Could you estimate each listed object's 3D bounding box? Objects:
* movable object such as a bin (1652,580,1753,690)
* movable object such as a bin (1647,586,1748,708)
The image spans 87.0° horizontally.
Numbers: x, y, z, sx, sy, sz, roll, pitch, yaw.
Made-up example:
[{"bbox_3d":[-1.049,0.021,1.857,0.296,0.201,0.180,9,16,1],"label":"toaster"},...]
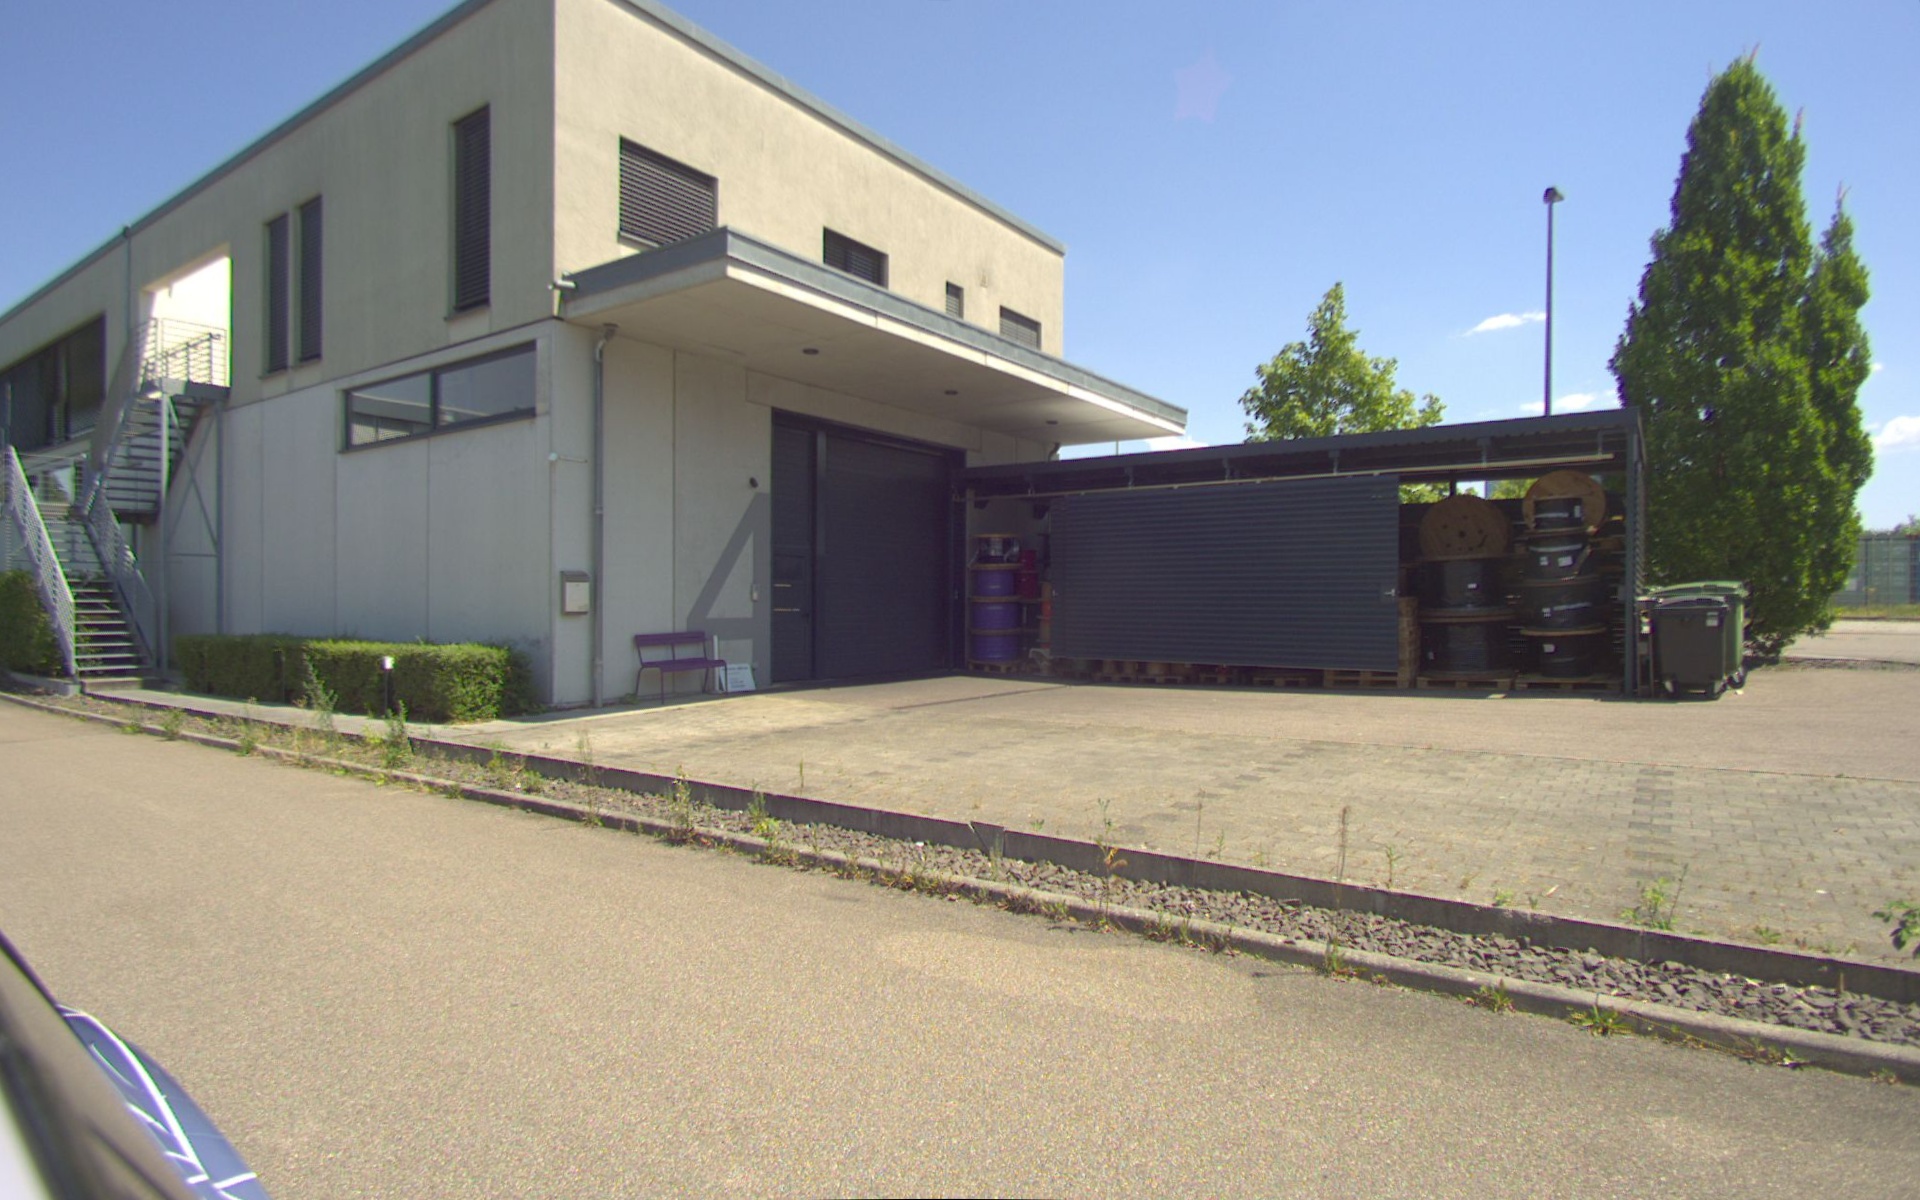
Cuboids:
[{"bbox_3d":[9.481,0.435,12.923,0.973,1.340,0.700,-1,0,41],"label":"movable object such as a bin"},{"bbox_3d":[8.625,0.520,11.838,0.884,1.355,0.802,-1,0,41],"label":"movable object such as a bin"}]
